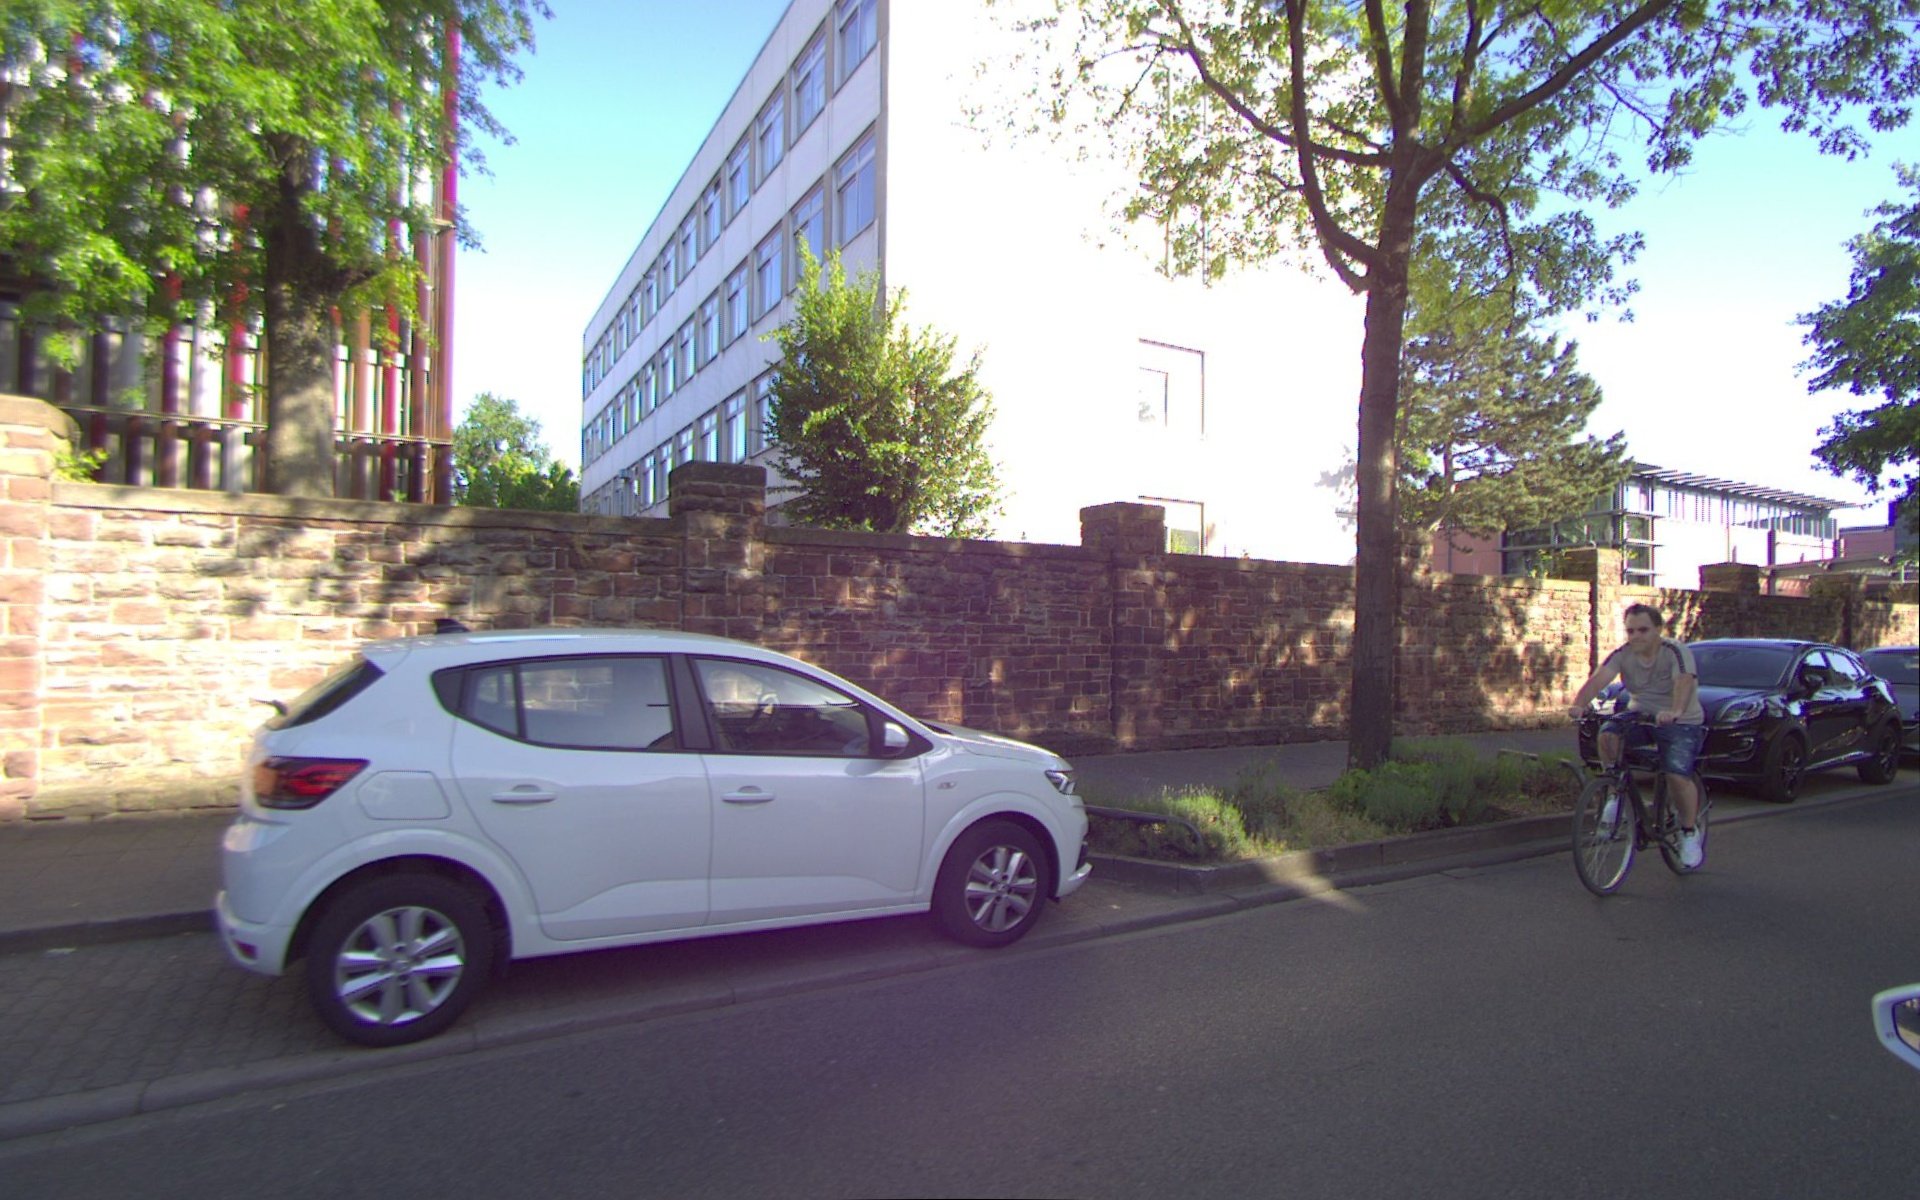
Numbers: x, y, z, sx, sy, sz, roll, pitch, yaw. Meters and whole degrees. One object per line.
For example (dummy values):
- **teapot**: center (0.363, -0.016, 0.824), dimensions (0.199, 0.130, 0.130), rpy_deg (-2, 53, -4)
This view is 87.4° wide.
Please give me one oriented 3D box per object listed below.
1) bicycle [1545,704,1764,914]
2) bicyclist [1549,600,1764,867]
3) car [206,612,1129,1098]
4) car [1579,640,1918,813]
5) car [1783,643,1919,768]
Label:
- **bicycle**: center (4.455, 1.267, 6.398), dimensions (1.843, 1.135, 0.356), rpy_deg (2, 0, -29)
- **bicyclist**: center (4.417, 0.787, 6.381), dimensions (0.992, 1.542, 0.718), rpy_deg (2, 0, -27)
- **car**: center (-1.206, 0.891, 4.967), dimensions (3.803, 1.531, 1.669), rpy_deg (1, 1, -30)
- **car**: center (8.546, 1.224, 10.808), dimensions (3.998, 1.535, 1.566), rpy_deg (2, -1, -31)
- **car**: center (12.802, 1.341, 13.504), dimensions (3.799, 1.440, 1.676), rpy_deg (2, 0, -34)
